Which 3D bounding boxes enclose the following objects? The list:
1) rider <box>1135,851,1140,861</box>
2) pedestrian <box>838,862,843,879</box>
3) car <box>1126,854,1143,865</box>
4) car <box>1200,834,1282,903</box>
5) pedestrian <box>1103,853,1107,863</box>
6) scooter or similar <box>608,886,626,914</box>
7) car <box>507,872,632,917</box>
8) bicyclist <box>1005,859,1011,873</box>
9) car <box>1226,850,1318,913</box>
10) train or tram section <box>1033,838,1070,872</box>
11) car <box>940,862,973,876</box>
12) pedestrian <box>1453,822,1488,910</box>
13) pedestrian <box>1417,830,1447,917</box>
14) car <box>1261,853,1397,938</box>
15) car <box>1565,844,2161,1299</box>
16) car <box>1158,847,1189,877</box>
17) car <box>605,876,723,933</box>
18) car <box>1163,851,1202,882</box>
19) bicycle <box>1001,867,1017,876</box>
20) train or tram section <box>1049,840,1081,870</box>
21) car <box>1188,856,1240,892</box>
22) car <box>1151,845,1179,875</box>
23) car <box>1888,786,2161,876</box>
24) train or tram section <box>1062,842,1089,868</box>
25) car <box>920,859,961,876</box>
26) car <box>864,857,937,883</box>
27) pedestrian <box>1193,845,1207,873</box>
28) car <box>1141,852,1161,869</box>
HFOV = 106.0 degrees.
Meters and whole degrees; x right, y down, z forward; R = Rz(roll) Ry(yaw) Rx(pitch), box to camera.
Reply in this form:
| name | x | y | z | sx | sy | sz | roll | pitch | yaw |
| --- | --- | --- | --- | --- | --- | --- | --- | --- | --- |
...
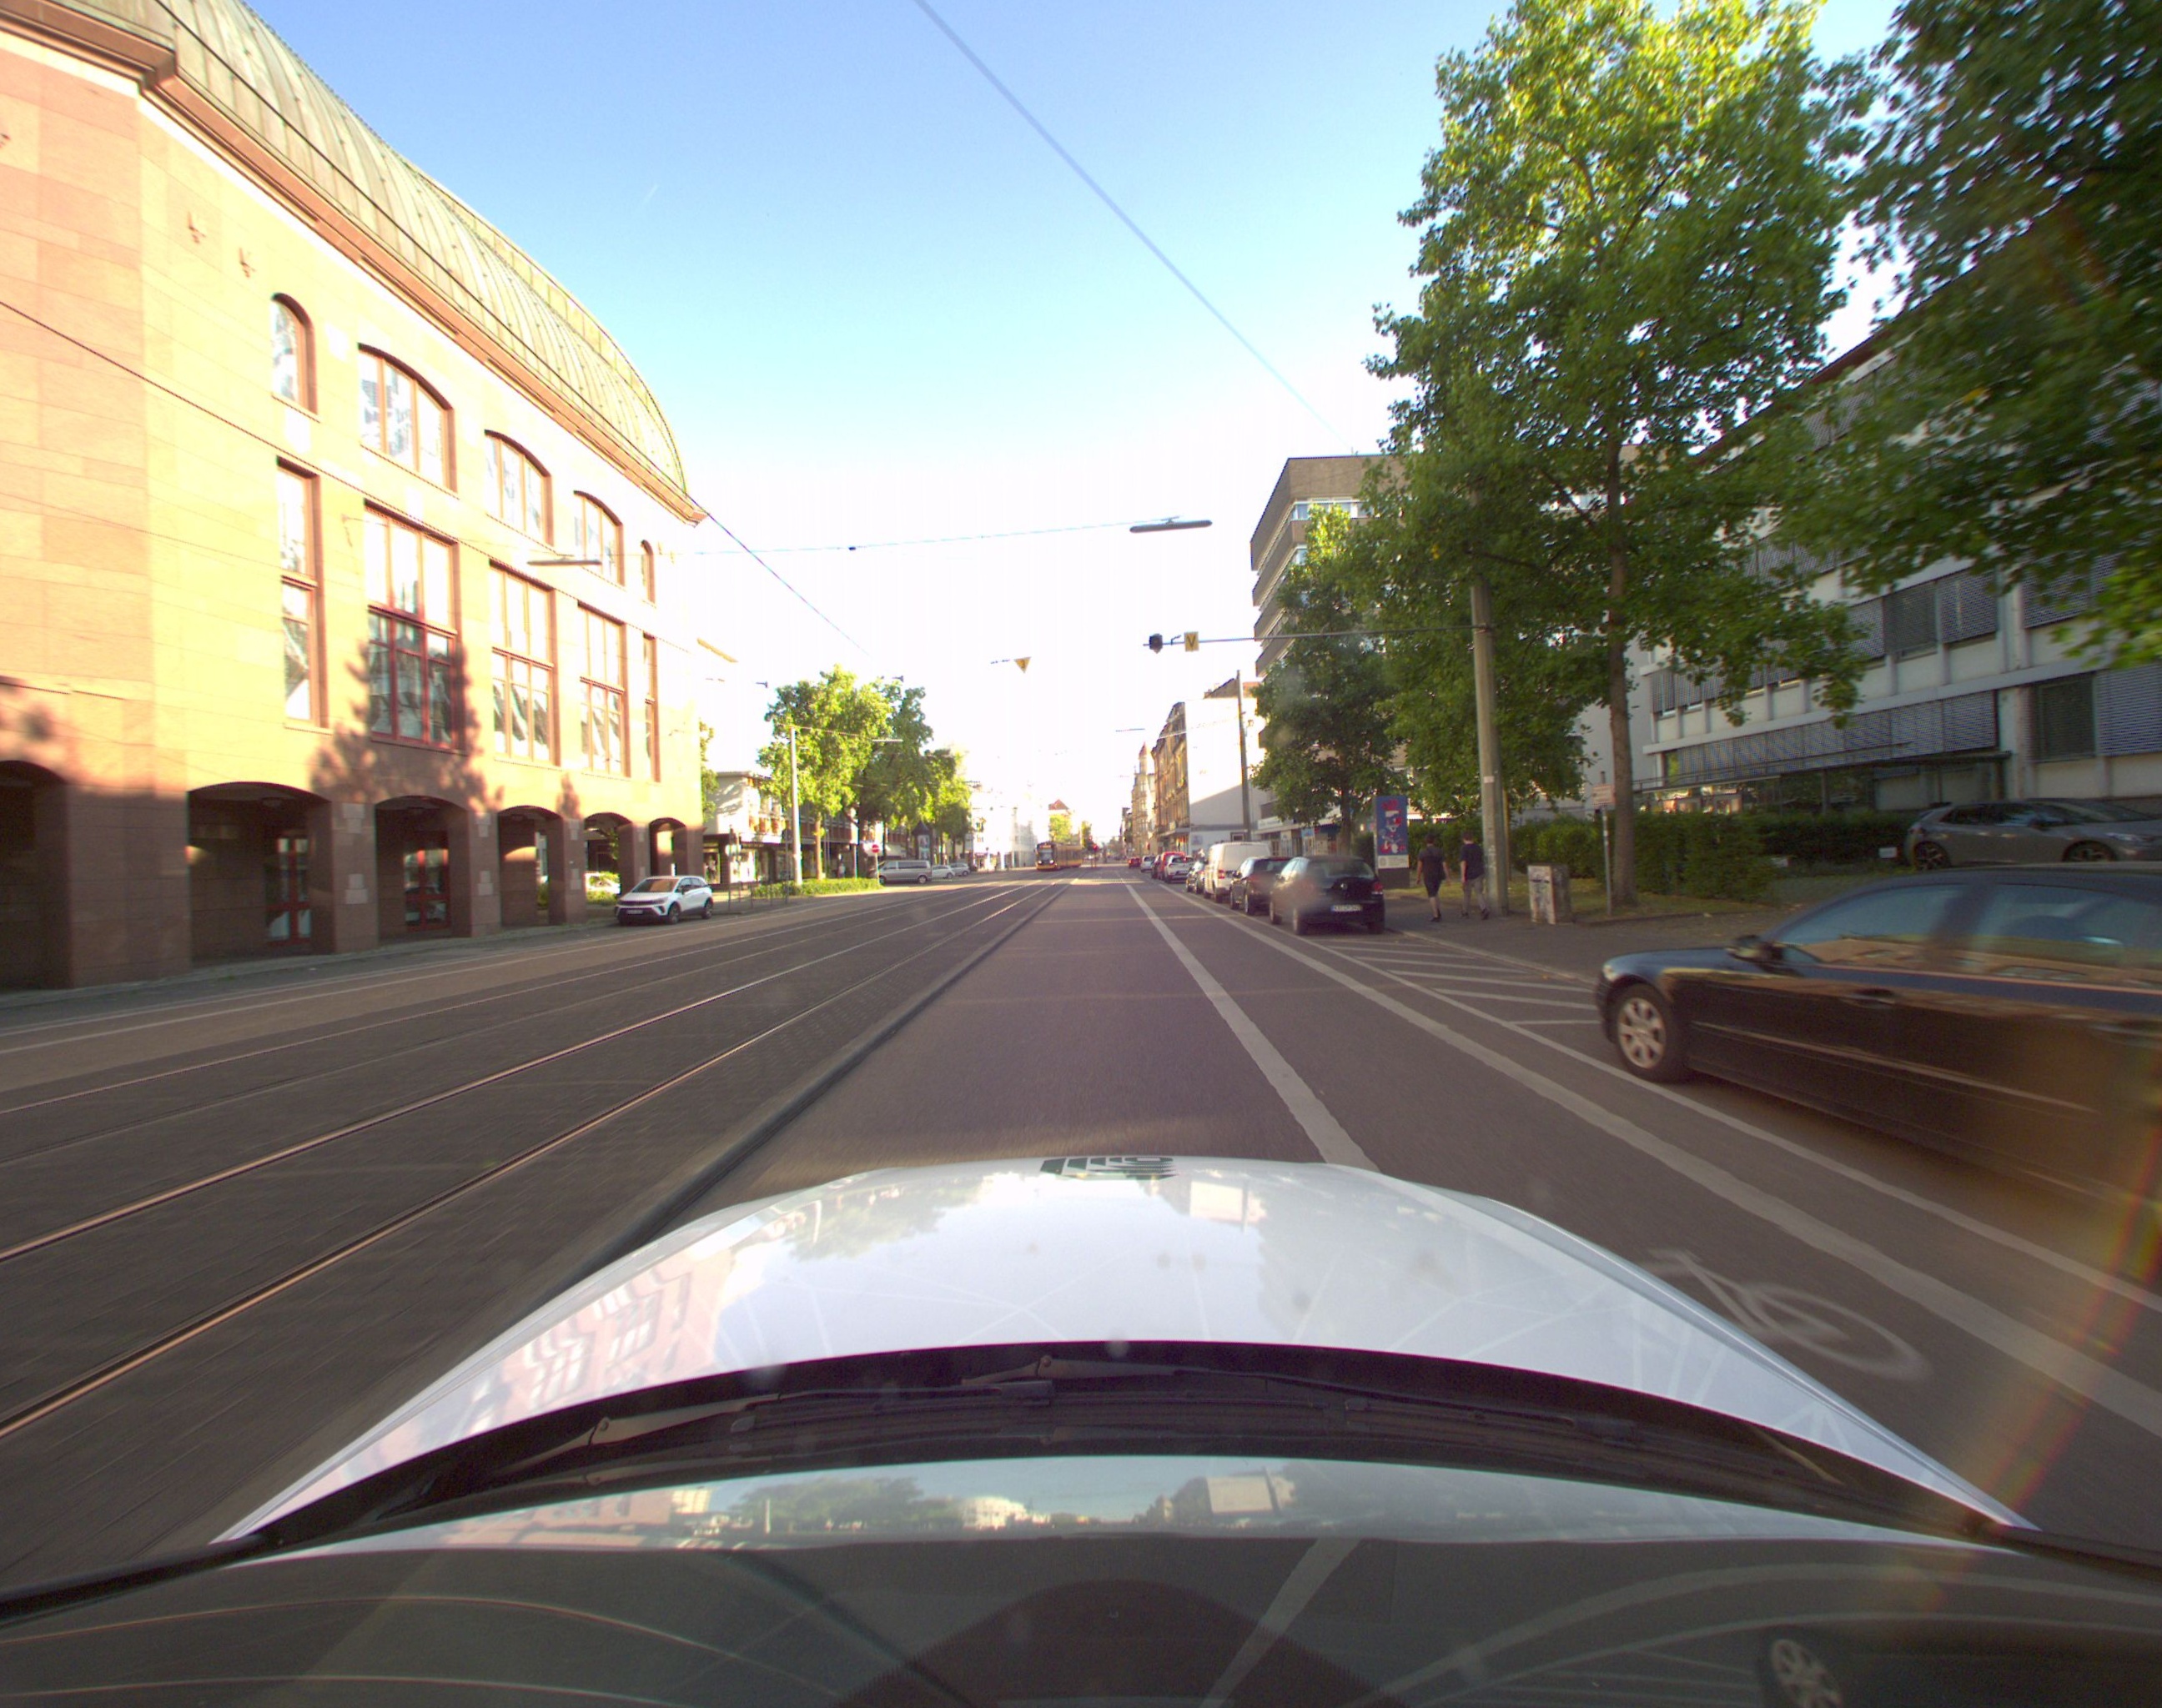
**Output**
| name | x | y | z | sx | sy | sz | roll | pitch | yaw |
| --- | --- | --- | --- | --- | --- | --- | --- | --- | --- |
| rider | 8.678 | 0.257 | 124.797 | 0.708 | 1.481 | 0.887 | -1 | 0 | 1 |
| pedestrian | -18.833 | 1.272 | 63.792 | 0.363 | 1.343 | 0.480 | 0 | 0 | -19 |
| car | 6.925 | 0.749 | 105.735 | 2.058 | 1.389 | 4.227 | 0 | 0 | 1 |
| car | 5.293 | 0.427 | 27.506 | 1.963 | 2.014 | 4.561 | -4 | 0 | 3 |
| pedestrian | 5.021 | 0.822 | 168.916 | 0.916 | 2.013 | 0.759 | 0 | 0 | 2 |
| scooter or similar | -16.623 | 1.638 | 29.191 | 0.363 | 0.938 | 0.967 | 0 | 0 | -18 |
| car | -26.225 | 2.063 | 41.923 | 4.916 | 1.993 | 2.145 | -2 | 0 | -9 |
| bicyclist | -10.277 | 1.719 | 114.584 | 0.717 | 2.013 | 0.702 | 0 | 0 | 8 |
| car | 4.970 | 0.657 | 21.681 | 1.615 | 1.473 | 3.973 | -2 | 0 | 2 |
| train or tram section | -3.495 | 0.077 | 99.551 | 2.678 | 3.960 | 12.112 | 0 | 0 | 6 |
| car | -14.654 | 1.733 | 95.655 | 3.542 | 1.481 | 1.567 | -1 | 0 | -31 |
| pedestrian | 7.792 | 0.235 | 16.287 | 0.494 | 1.709 | 0.456 | -4 | 2 | 20 |
| pedestrian | 7.110 | 0.394 | 16.502 | 0.422 | 1.710 | 0.456 | -4 | 0 | 20 |
| car | 4.808 | 0.723 | 16.347 | 1.614 | 1.431 | 3.987 | -2 | 0 | 2 |
| car | 4.467 | 0.720 | 3.804 | 1.710 | 1.427 | 4.677 | -2 | 1 | 1 |
| car | 5.898 | 0.501 | 52.364 | 1.615 | 1.813 | 4.084 | -1 | 0 | 1 |
| car | -14.154 | 1.651 | 27.950 | 1.864 | 1.600 | 4.252 | -2 | 0 | -1 |
| car | 5.708 | 0.678 | 46.274 | 1.717 | 1.567 | 4.084 | -3 | 0 | 1 |
| bicycle | -10.118 | 2.523 | 114.581 | 2.008 | 1.239 | 0.702 | 0 | 0 | 8 |
| train or tram section | -2.110 | 0.122 | 111.999 | 2.678 | 3.878 | 12.867 | 0 | 0 | 6 |
| car | 5.458 | 0.777 | 33.810 | 1.615 | 1.370 | 3.932 | -1 | 0 | 1 |
| car | 5.817 | 0.391 | 56.616 | 1.615 | 2.006 | 3.832 | -1 | 0 | 1 |
| car | 19.133 | -0.478 | 16.149 | 1.859 | 1.494 | 4.437 | -4 | 1 | 0 |
| train or tram section | -0.753 | 0.097 | 124.059 | 2.678 | 3.752 | 11.310 | 0 | 0 | 7 |
| car | -14.696 | 1.378 | 85.238 | 3.892 | 1.627 | 1.858 | -1 | 0 | -29 |
| car | -14.609 | 1.273 | 65.939 | 5.286 | 2.043 | 2.395 | 0 | -2 | -31 |
| pedestrian | 7.594 | 0.315 | 51.974 | 0.728 | 1.722 | 0.835 | -2 | 0 | 2 |
| car | 6.741 | 0.617 | 78.884 | 1.615 | 1.555 | 4.084 | -1 | 0 | 1 |
